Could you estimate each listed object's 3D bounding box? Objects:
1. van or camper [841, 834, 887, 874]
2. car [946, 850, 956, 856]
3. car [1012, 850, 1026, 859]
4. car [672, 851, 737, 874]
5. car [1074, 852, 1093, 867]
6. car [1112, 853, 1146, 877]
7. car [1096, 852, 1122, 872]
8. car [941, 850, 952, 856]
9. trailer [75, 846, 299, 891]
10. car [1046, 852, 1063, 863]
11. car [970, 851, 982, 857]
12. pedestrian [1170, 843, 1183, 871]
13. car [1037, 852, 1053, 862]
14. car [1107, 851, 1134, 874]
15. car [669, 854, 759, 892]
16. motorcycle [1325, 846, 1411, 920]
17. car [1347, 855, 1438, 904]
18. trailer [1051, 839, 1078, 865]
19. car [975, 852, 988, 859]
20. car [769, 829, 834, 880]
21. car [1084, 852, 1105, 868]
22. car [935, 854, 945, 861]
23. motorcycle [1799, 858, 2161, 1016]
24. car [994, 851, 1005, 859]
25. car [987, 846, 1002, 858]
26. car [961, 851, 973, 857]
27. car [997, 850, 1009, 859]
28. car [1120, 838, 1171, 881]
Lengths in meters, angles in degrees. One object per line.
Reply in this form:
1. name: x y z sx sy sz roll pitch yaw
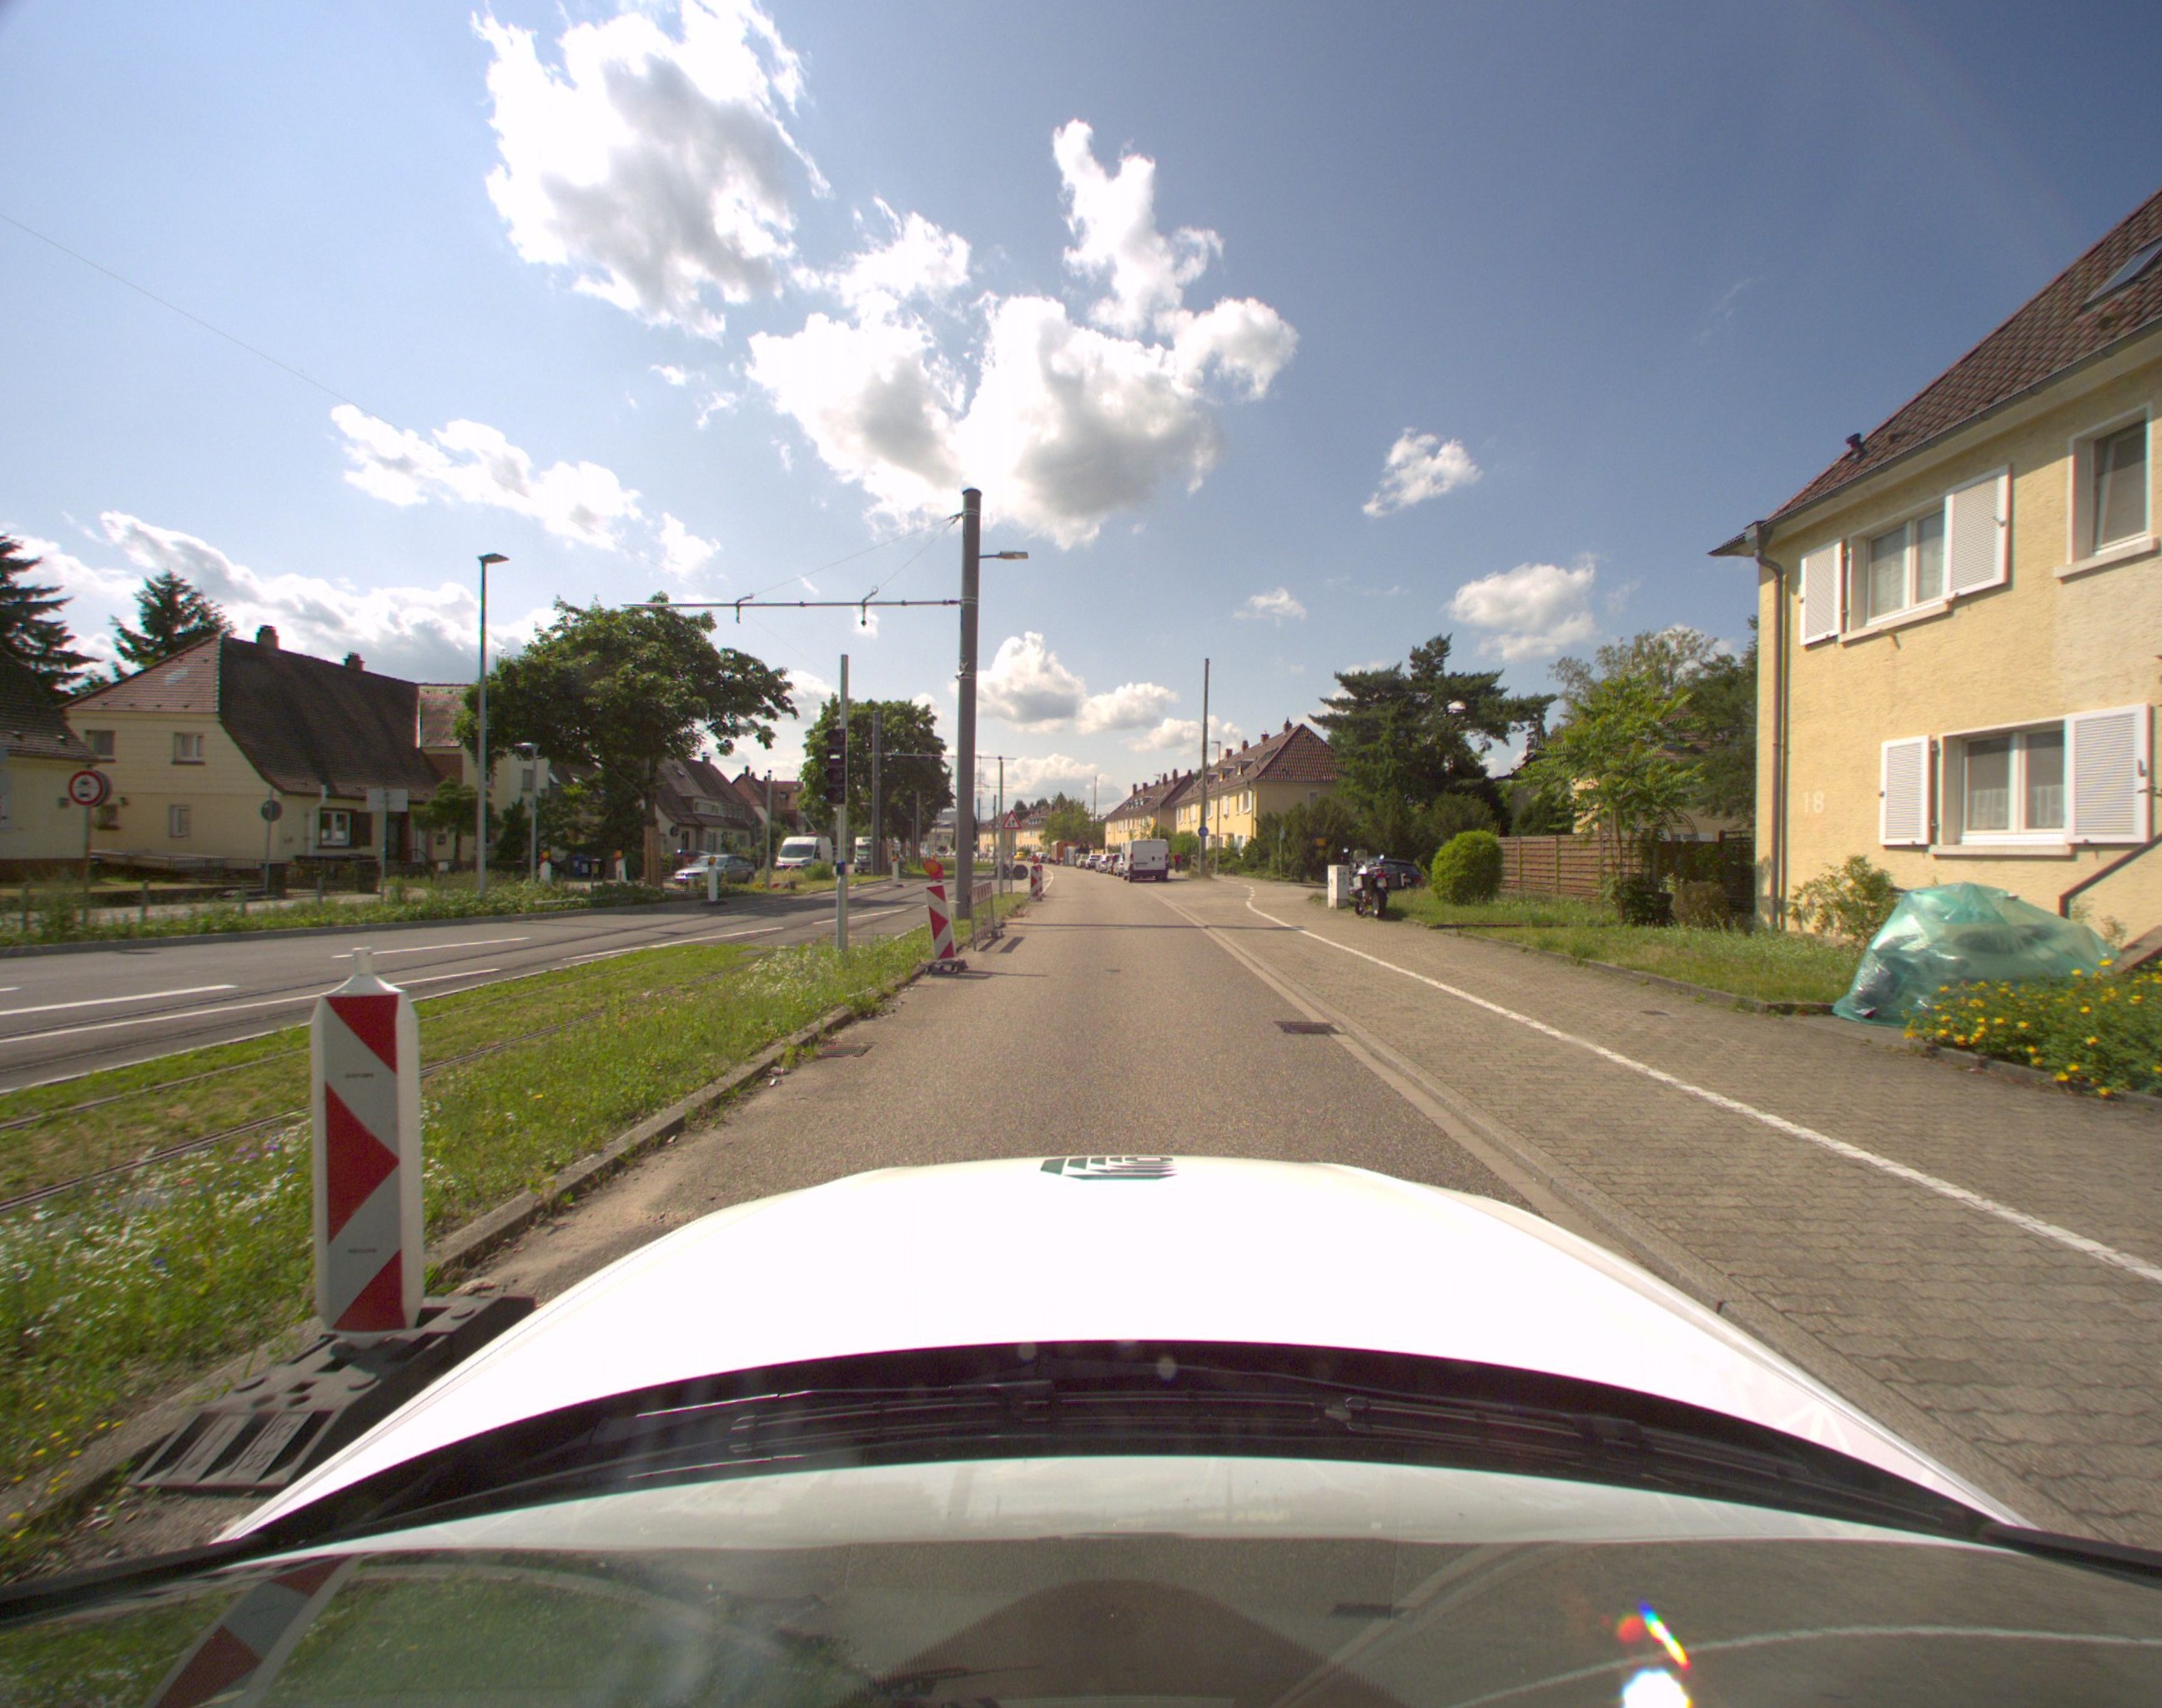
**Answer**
1. van or camper: -17.321 -0.021 65.362 2.372 2.970 7.281 0 0 -6
2. car: -33.020 -0.142 206.595 1.771 1.439 3.971 -2 1 -22
3. car: -10.820 0.039 142.611 1.639 1.482 3.912 -3 2 -15
4. car: -25.793 0.592 55.856 3.610 1.522 1.668 0 0 -5
5. car: 0.228 0.563 82.736 1.462 1.502 4.098 -1 0 -7
6. car: 3.118 0.713 54.026 1.705 1.504 4.248 0 0 -5
7. car: 2.217 0.620 64.895 1.745 1.497 4.381 -1 0 -3
8. car: -34.905 -0.203 211.322 1.771 1.502 3.971 -2 1 -22
9. trailer: -29.364 0.456 26.874 5.235 1.393 2.025 0 0 2
10. car: -3.732 0.484 112.800 1.578 1.449 4.435 0 0 -12
11. car: -23.622 -0.037 183.399 1.627 1.417 3.971 -2 1 -22
12. pedestrian: 6.964 0.189 59.487 0.771 2.013 0.761 0 0 -3
13. car: -5.365 0.378 120.483 1.708 1.449 4.816 0 0 -12
14. car: 2.821 0.592 58.925 1.624 1.550 3.805 -1 0 -3
15. car: -15.321 0.739 34.293 1.687 1.464 4.753 0 0 -1
16. motorcycle: 6.330 0.597 18.130 1.043 1.470 2.586 -2 0 2
17. car: 10.484 0.798 27.712 1.633 1.380 4.292 1 2 3
18. trailer: -2.107 -0.287 104.509 2.691 3.226 5.063 0 0 -11
19. car: -21.796 0.392 178.258 1.806 1.458 4.729 -2 0 -22
20. car: -15.511 0.033 45.480 2.148 2.668 4.911 0 0 -3
21. car: 1.256 0.572 76.569 1.525 1.481 3.802 -1 0 -5
22. car: -32.807 0.755 189.593 1.671 1.449 3.932 -3 1 -21
23. motorcycle: 7.461 0.640 6.748 2.217 1.197 0.855 0 0 4
24. car: -16.080 0.147 161.116 1.540 1.445 3.715 0 0 -17
25. car: -17.609 -0.439 166.228 1.935 2.480 5.483 -1 0 -18
26. car: -26.802 -0.072 191.781 1.771 1.417 3.971 -2 1 -22
27. car: -14.980 0.119 156.480 1.640 1.602 4.006 0 0 -17
28. car: 3.434 0.268 44.620 2.270 2.182 6.366 0 0 -1
